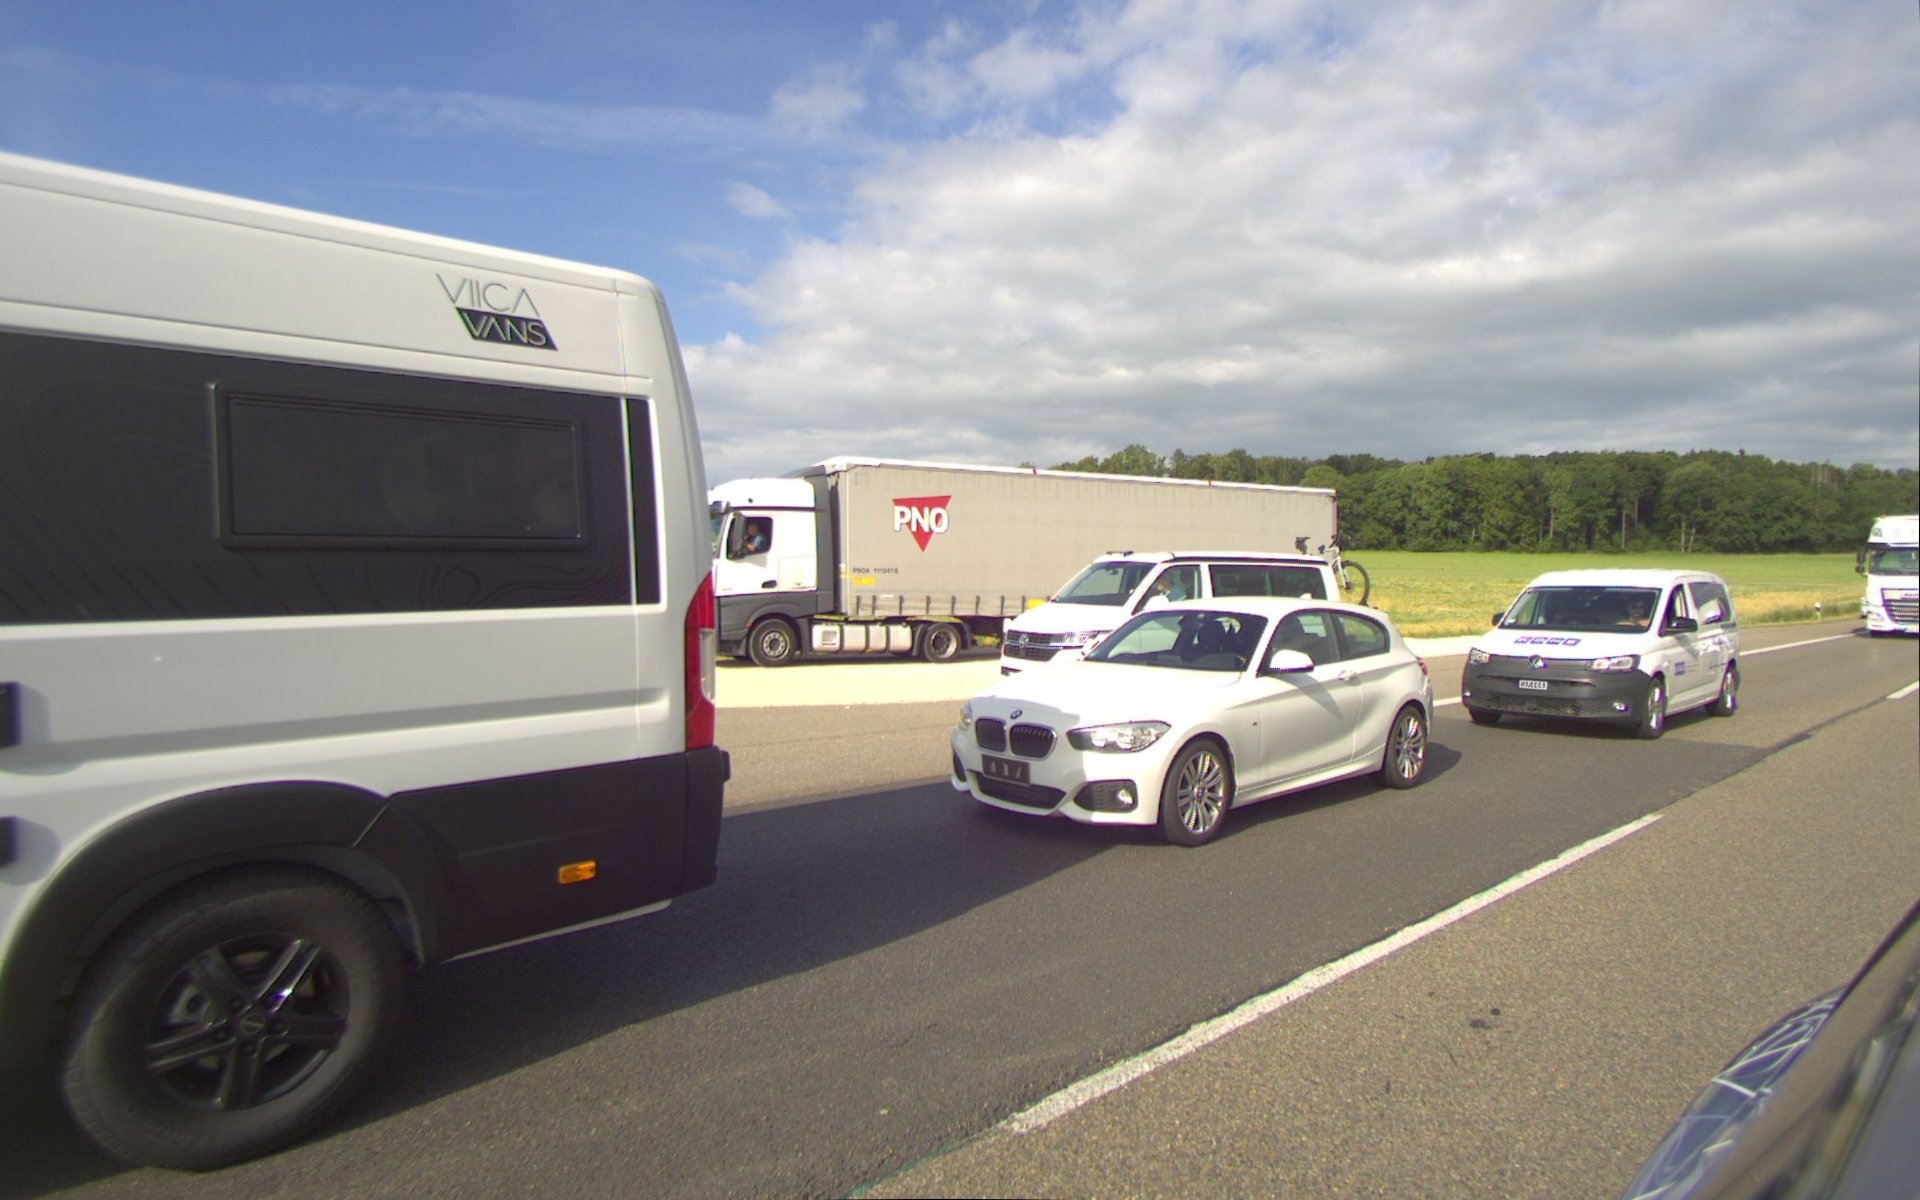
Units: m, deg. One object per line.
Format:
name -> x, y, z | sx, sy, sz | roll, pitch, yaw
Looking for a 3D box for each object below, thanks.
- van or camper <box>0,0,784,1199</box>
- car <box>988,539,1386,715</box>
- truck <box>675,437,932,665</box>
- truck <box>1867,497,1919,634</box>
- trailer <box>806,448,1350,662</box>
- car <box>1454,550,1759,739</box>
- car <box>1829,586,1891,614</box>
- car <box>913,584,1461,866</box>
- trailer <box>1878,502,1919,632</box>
van or camper -> -3.656, 0.012, 2.208 | 6.222, 2.714, 2.219 | 0, 1, -41
car -> 3.052, 0.278, 13.244 | 5.160, 1.949, 1.803 | 0, 0, -28
truck -> -3.260, -0.916, 20.955 | 4.662, 4.226, 2.727 | 0, 0, -26
truck -> 31.823, -1.100, 32.955 | 5.667, 4.226, 2.733 | -1, 1, -41
trailer -> 3.278, -0.894, 24.140 | 13.543, 4.213, 2.748 | 0, 0, -26
car -> 7.631, 0.407, 11.744 | 4.620, 1.779, 1.727 | 0, 0, -41
car -> 48.506, -0.018, 54.519 | 4.548, 1.450, 1.870 | 0, 1, -40
car -> 1.815, 0.623, 7.229 | 4.158, 1.450, 1.706 | 0, 0, -41
trailer -> 36.446, -1.208, 37.031 | 13.777, 4.212, 2.739 | -1, 1, -41
